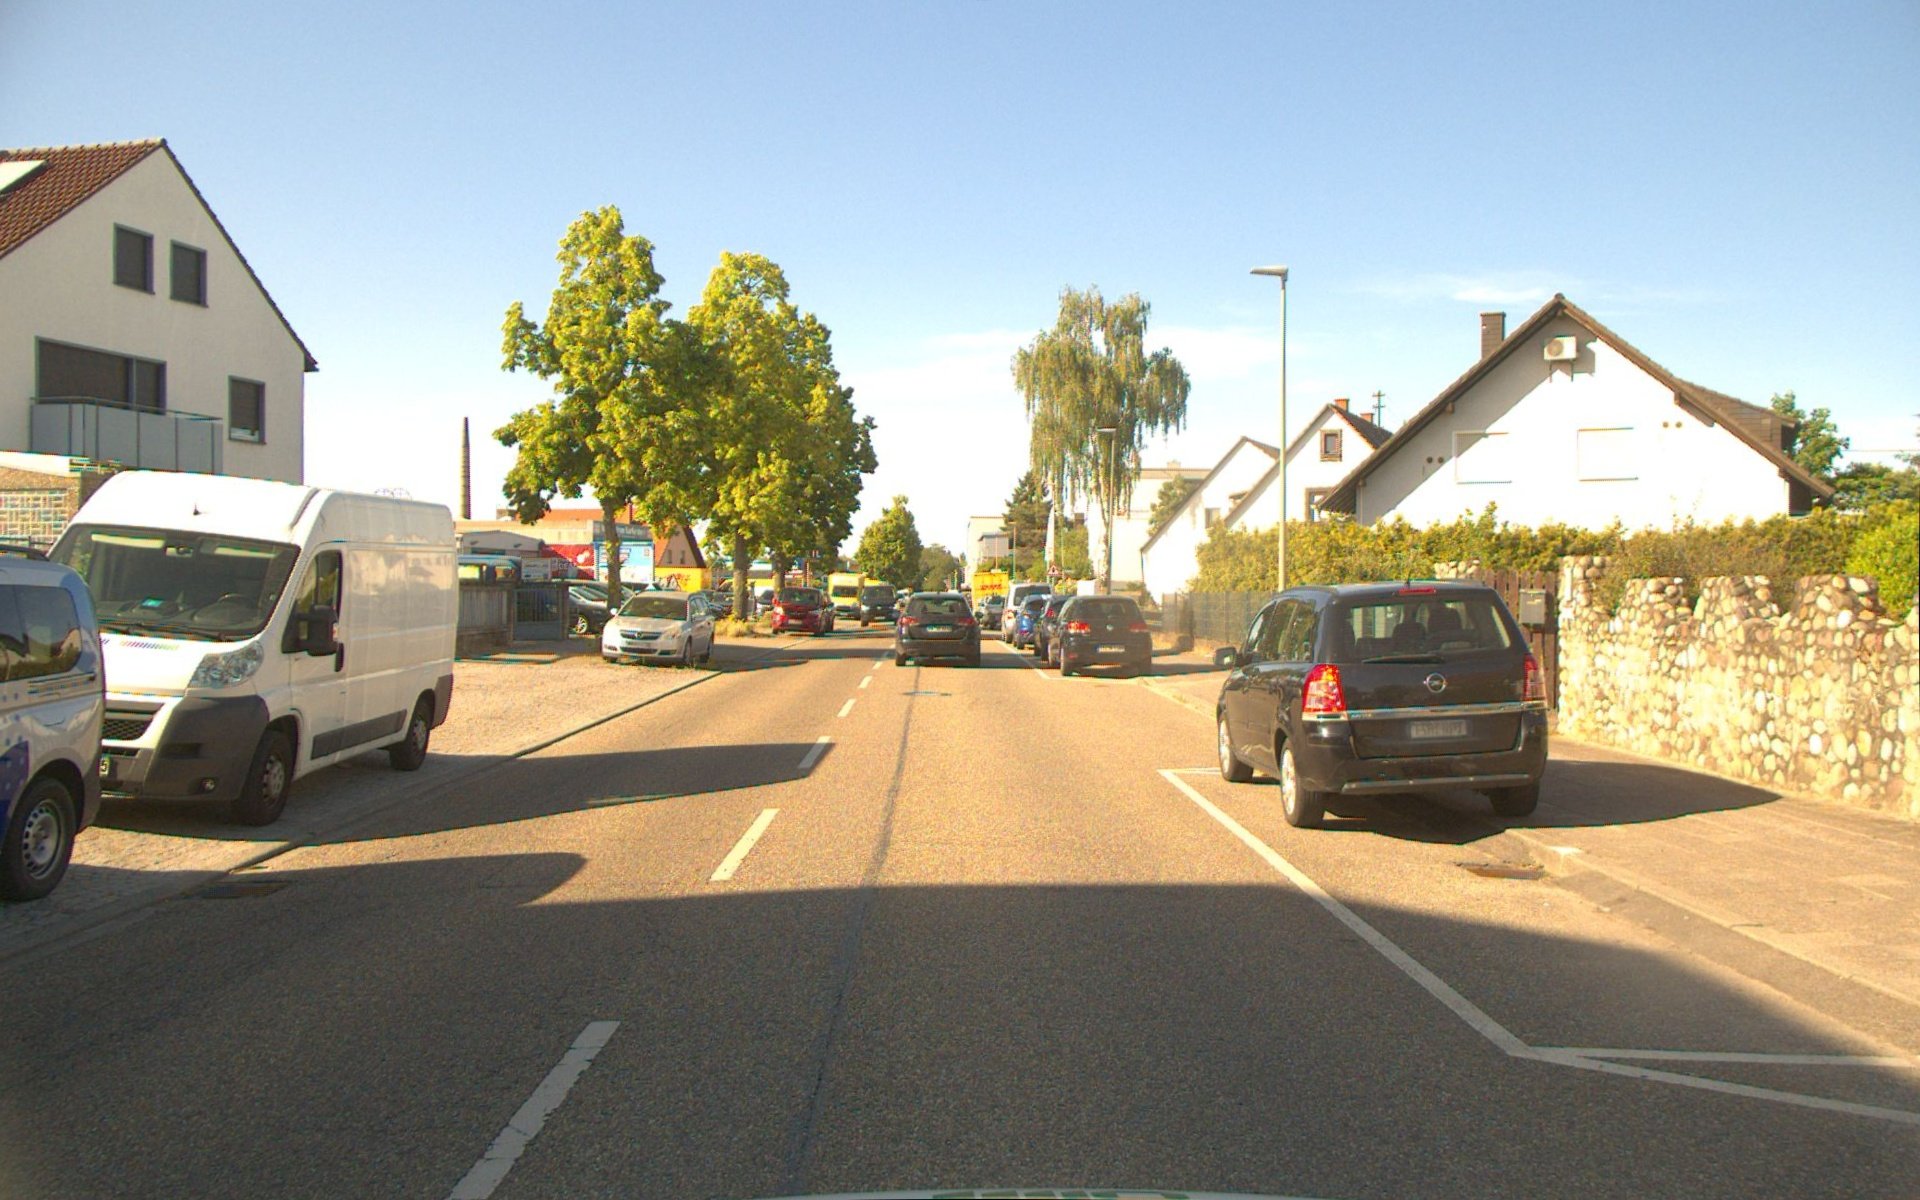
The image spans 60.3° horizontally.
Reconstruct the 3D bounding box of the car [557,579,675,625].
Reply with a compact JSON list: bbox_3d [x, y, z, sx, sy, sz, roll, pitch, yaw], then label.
[{"bbox_3d":[-13.381,0.070,64.526,4.159,1.759,1.767,0,0,5],"label":"car"}]

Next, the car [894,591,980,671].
[{"bbox_3d":[-0.434,0.593,34.235,1.676,1.559,3.687,0,0,0],"label":"car"}]

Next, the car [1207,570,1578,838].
[{"bbox_3d":[3.083,0.650,12.716,1.739,1.688,4.304,1,0,0],"label":"car"}]

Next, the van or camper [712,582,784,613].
[{"bbox_3d":[-14.493,-0.164,113.200,4.447,2.049,2.252,0,0,5],"label":"van or camper"}]

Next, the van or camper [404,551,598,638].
[{"bbox_3d":[-13.008,-0.149,46.990,4.788,2.361,2.245,1,-1,12],"label":"van or camper"}]

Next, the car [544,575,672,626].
[{"bbox_3d":[-12.519,0.004,59.017,4.160,1.783,1.766,0,0,2],"label":"car"}]

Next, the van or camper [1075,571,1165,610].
[{"bbox_3d":[10.673,-0.631,110.296,5.744,2.586,2.270,0,0,-27],"label":"van or camper"}]

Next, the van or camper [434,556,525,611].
[{"bbox_3d":[-25.366,-0.846,87.567,2.118,2.763,6.275,0,0,10],"label":"van or camper"}]

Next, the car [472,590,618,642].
[{"bbox_3d":[-13.225,0.496,52.809,4.159,1.569,1.767,1,0,5],"label":"car"}]

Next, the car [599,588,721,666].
[{"bbox_3d":[-6.248,0.517,34.862,1.652,1.460,4.209,3,0,1],"label":"car"}]

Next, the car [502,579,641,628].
[{"bbox_3d":[-12.948,0.109,55.275,4.159,1.568,1.767,0,1,4],"label":"car"}]

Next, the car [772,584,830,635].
[{"bbox_3d":[-5.930,0.354,62.091,1.767,1.783,4.341,2,0,-1],"label":"car"}]

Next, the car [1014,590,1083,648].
[{"bbox_3d":[2.430,0.498,45.905,1.684,1.531,3.563,1,0,-1],"label":"car"}]

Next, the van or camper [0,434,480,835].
[{"bbox_3d":[-5.760,0.200,13.526,2.080,2.533,5.553,3,0,-2],"label":"van or camper"}]

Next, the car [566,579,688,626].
[{"bbox_3d":[-12.438,0.092,61.934,4.159,1.759,1.767,0,0,5],"label":"car"}]

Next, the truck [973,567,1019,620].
[{"bbox_3d":[2.093,-0.367,98.299,2.354,2.988,7.014,-2,0,-1],"label":"truck"}]

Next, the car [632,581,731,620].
[{"bbox_3d":[-12.836,0.028,76.338,4.159,1.759,1.767,0,0,5],"label":"car"}]

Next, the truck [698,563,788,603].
[{"bbox_3d":[-15.237,-1.170,116.187,5.795,2.612,2.226,2,0,11],"label":"truck"}]

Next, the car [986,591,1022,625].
[{"bbox_3d":[2.138,0.384,79.317,1.639,1.569,4.044,1,0,3],"label":"car"}]

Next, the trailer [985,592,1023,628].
[{"bbox_3d":[1.955,0.421,74.135,1.594,1.565,3.198,0,0,0],"label":"trailer"}]

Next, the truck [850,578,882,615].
[{"bbox_3d":[-7.962,-0.272,141.044,2.354,3.035,6.373,2,0,-1],"label":"truck"}]

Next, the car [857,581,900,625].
[{"bbox_3d":[-3.980,0.137,81.485,1.855,2.067,4.817,-1,0,-1],"label":"car"}]

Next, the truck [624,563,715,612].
[{"bbox_3d":[-20.011,-0.876,114.125,5.547,3.174,2.525,2,0,10],"label":"truck"}]

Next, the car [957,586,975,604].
[{"bbox_3d":[0.610,-0.542,178.402,1.880,1.857,4.079,0,0,-1],"label":"car"}]

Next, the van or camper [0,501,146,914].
[{"bbox_3d":[-5.631,0.486,7.313,1.840,2.048,4.279,4,0,0],"label":"van or camper"}]

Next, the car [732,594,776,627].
[{"bbox_3d":[-10.607,0.571,85.513,1.824,1.618,4.274,0,-2,-2],"label":"car"}]

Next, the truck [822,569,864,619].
[{"bbox_3d":[-7.600,-0.386,107.878,2.354,3.035,7.242,2,0,-2],"label":"truck"}]

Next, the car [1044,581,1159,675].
[{"bbox_3d":[2.670,0.495,32.007,1.740,1.688,3.814,1,0,-3],"label":"car"}]

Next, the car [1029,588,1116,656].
[{"bbox_3d":[2.663,0.508,39.807,1.684,1.531,3.905,1,0,-2],"label":"car"}]

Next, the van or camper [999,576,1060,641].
[{"bbox_3d":[2.158,0.249,52.086,1.684,1.924,4.179,1,0,-1],"label":"van or camper"}]
